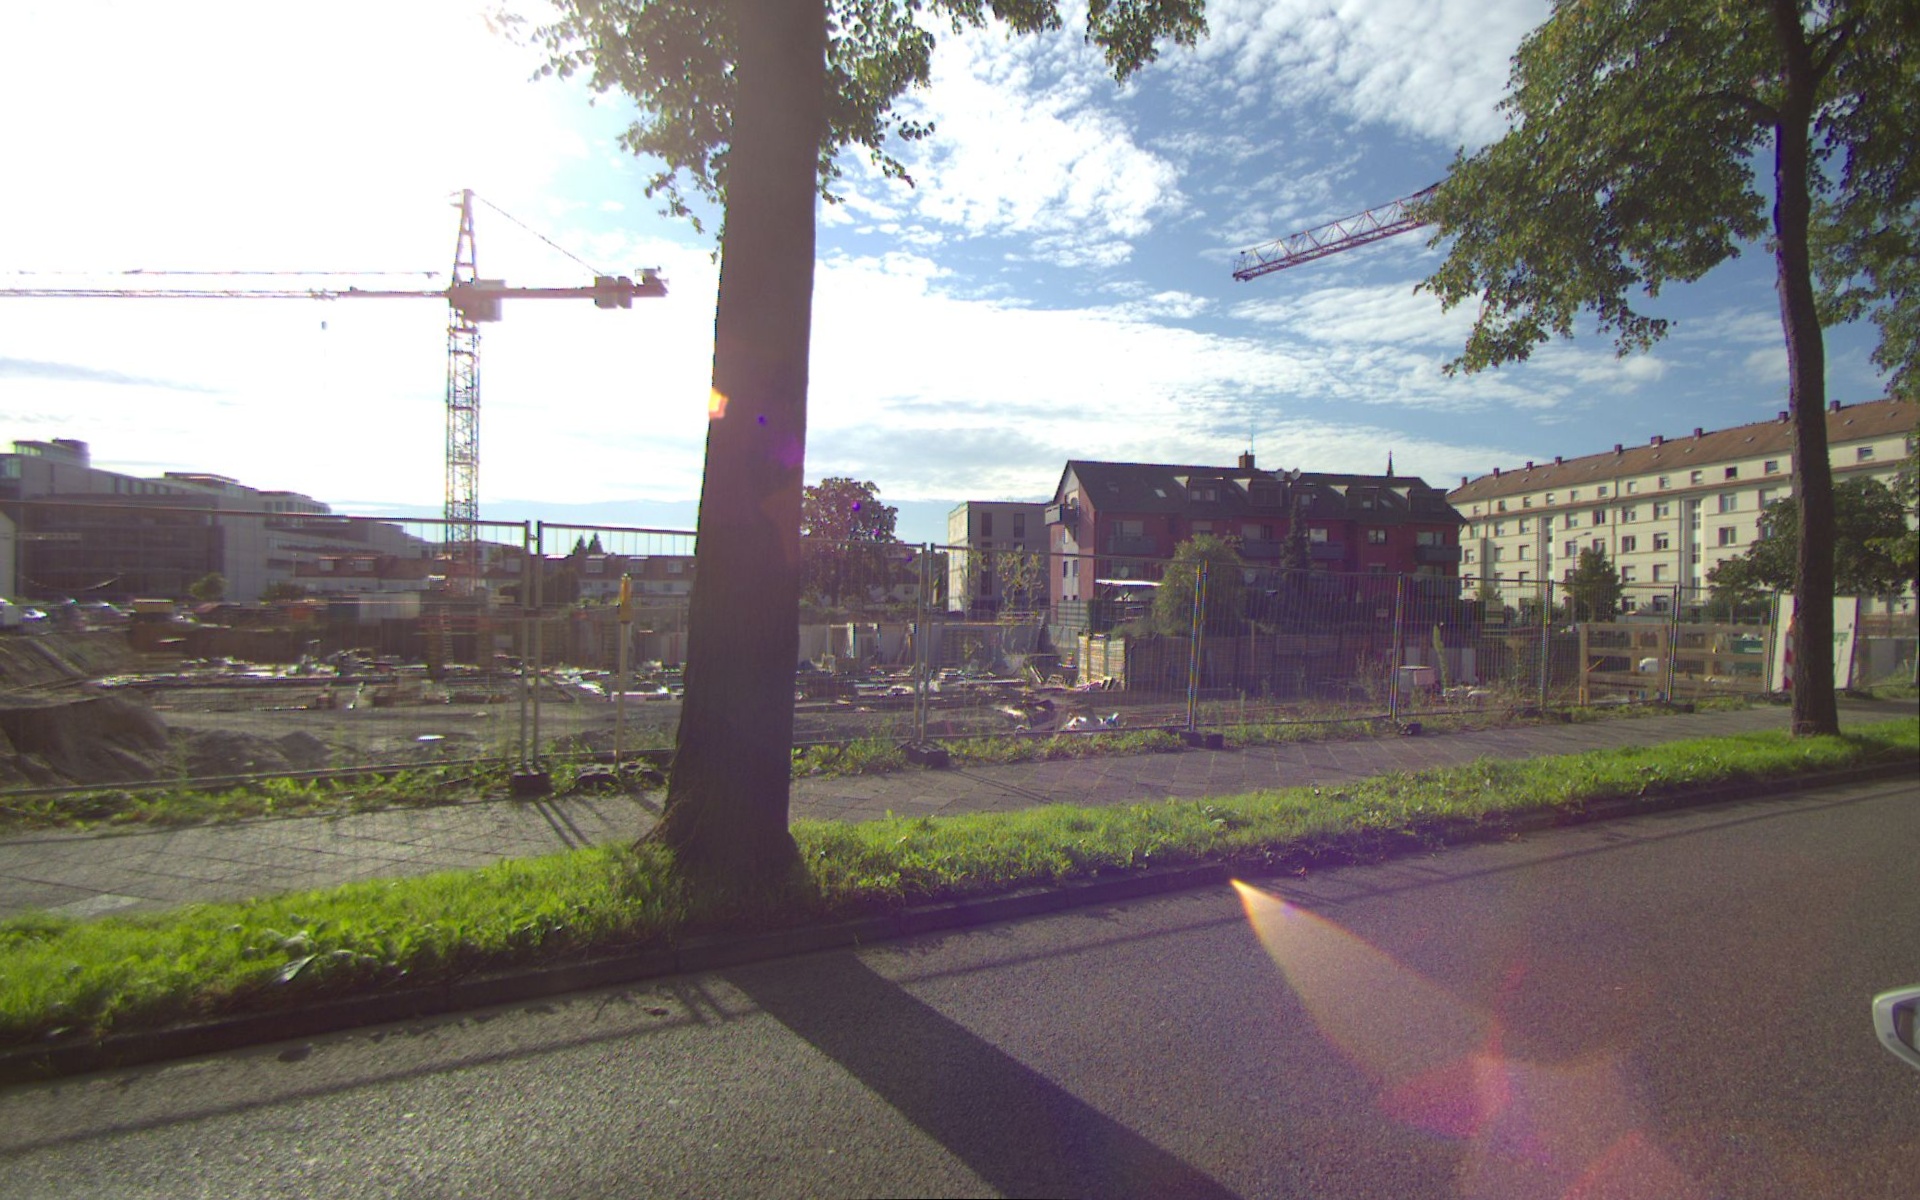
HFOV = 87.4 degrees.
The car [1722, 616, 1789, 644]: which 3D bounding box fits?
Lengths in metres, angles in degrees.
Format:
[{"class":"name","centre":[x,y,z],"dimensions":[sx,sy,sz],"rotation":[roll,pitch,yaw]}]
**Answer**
[{"class":"car","centre":[60.240,2.271,76.105],"dimensions":[3.933,2.040,1.994],"rotation":[0,-1,-15]}]
